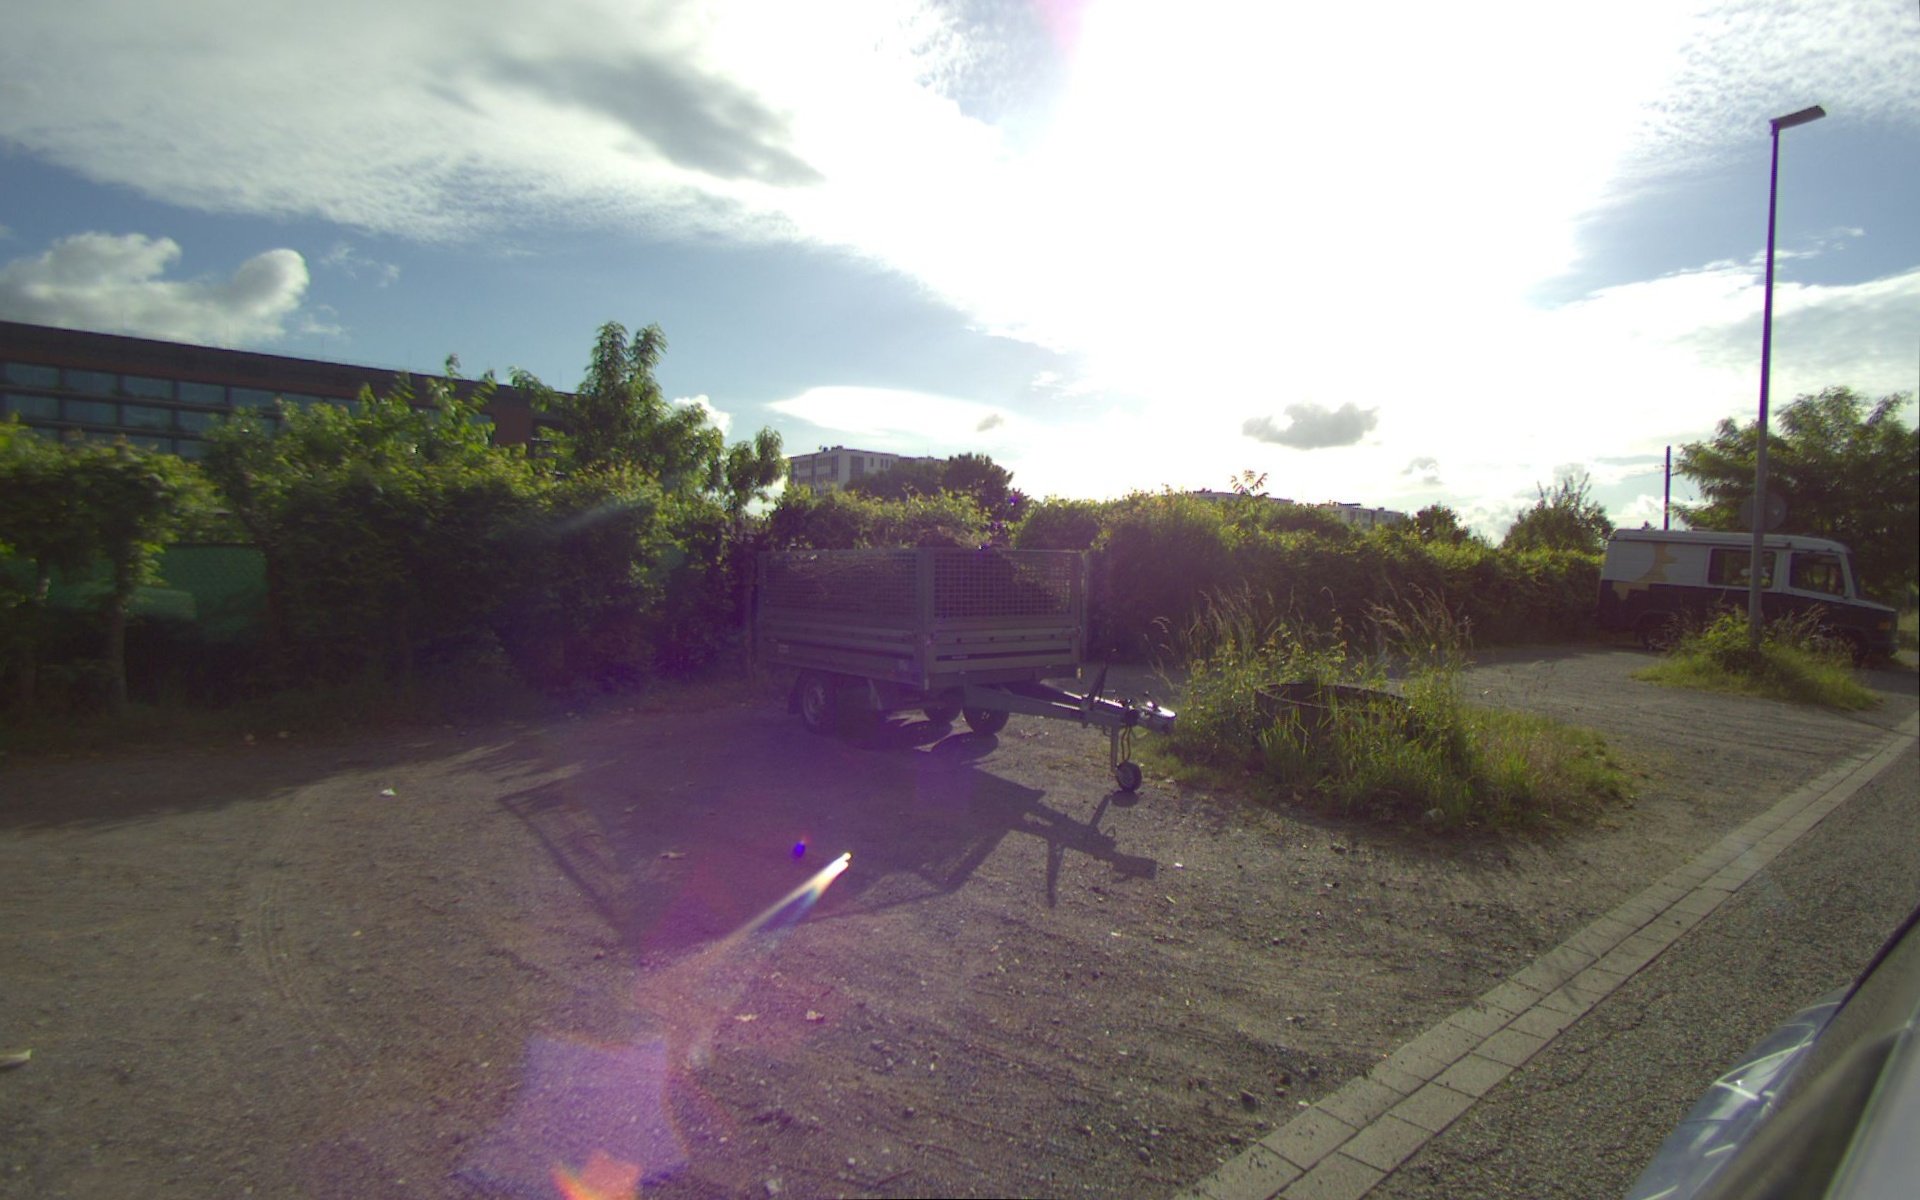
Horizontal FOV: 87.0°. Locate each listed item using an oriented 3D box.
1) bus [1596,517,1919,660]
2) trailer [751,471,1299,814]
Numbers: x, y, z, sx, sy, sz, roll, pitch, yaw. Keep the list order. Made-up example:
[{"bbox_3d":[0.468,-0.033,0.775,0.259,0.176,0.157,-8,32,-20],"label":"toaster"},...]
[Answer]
[{"bbox_3d":[17.414,-0.354,22.253,2.034,2.780,5.372,1,2,-43],"label":"bus"},{"bbox_3d":[0.189,0.135,7.711,1.881,1.857,4.165,0,2,-37],"label":"trailer"}]
